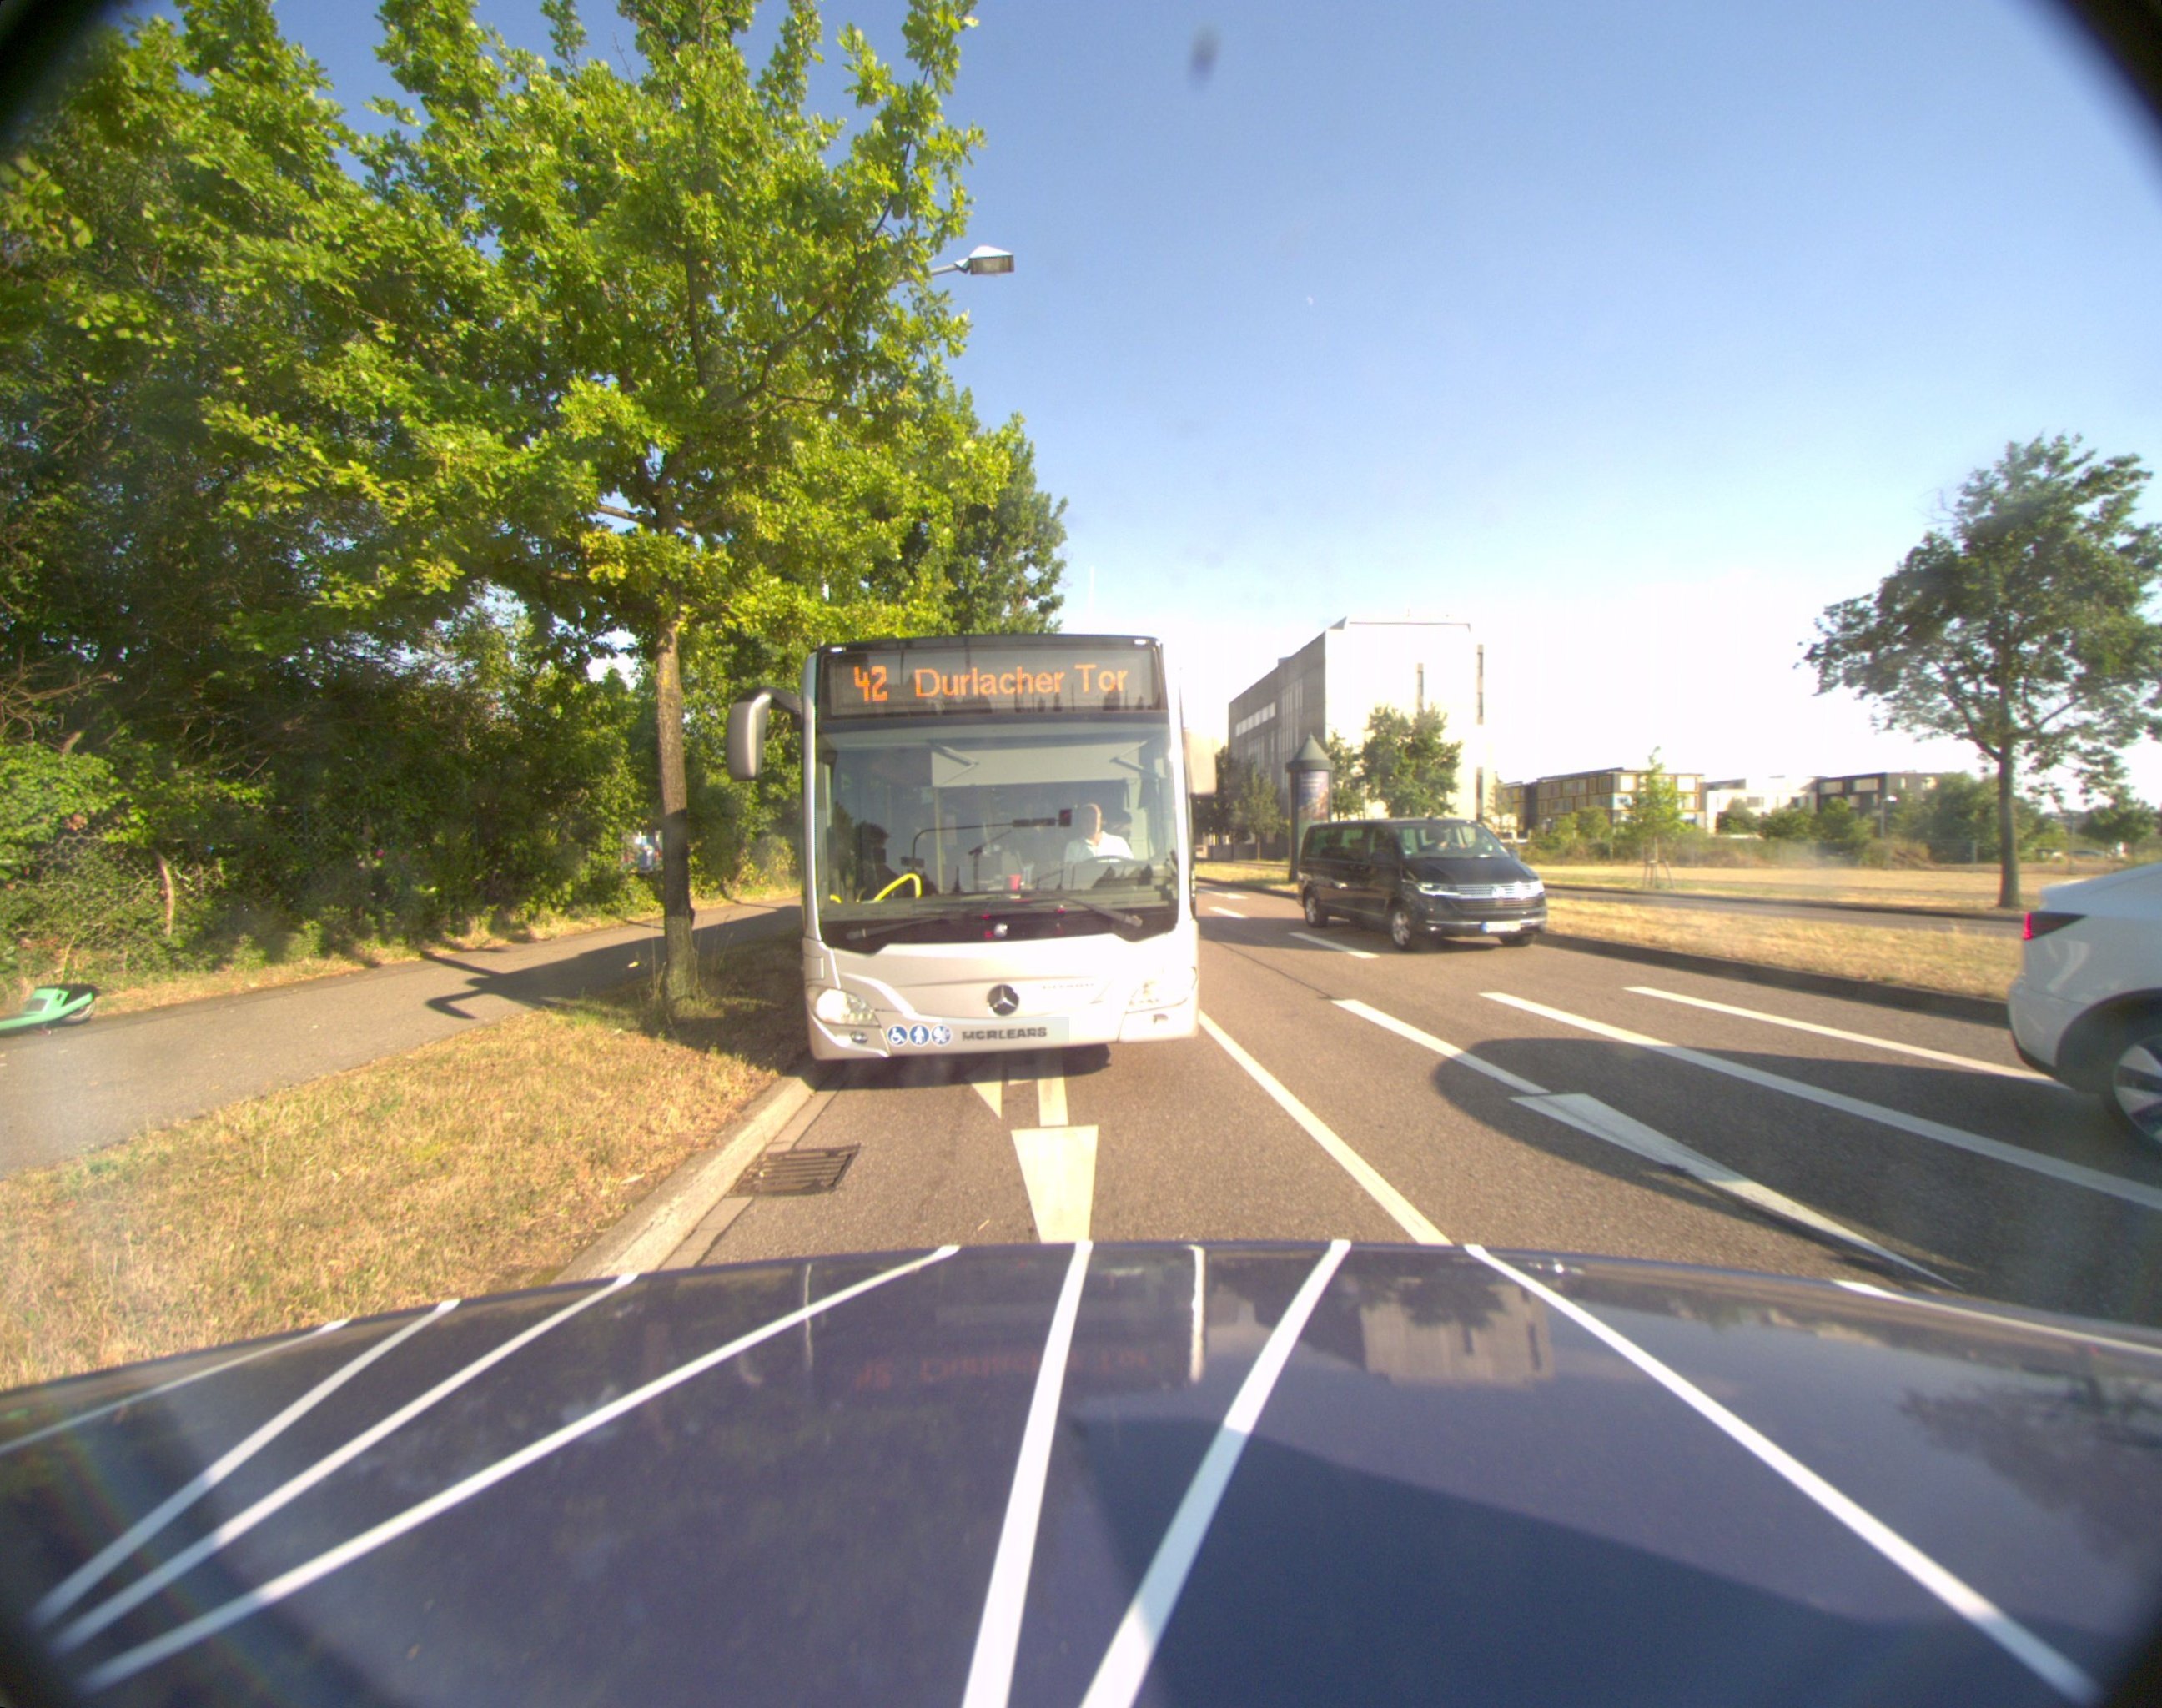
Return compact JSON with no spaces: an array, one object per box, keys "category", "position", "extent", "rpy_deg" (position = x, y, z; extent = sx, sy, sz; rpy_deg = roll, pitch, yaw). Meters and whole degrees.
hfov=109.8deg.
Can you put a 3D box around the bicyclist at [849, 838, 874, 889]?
[{"category":"bicyclist","position":[-8.050,0.341,27.903],"extent":[0.621,1.819,0.829],"rpy_deg":[5,1,-8]}]

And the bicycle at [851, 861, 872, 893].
[{"category":"bicycle","position":[-8.055,0.826,27.949],"extent":[0.416,1.151,1.890],"rpy_deg":[2,0,-8]}]

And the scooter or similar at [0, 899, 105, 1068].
[{"category":"scooter or similar","position":[-7.552,0.908,5.222],"extent":[0.249,1.120,1.095],"rpy_deg":[2,1,1]}]

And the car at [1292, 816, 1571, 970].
[{"category":"car","position":[5.208,0.467,12.244],"extent":[1.861,1.921,5.010],"rpy_deg":[-2,1,-4]}]

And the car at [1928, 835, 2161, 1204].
[{"category":"car","position":[5.662,0.713,1.884],"extent":[1.740,1.590,4.675],"rpy_deg":[-2,0,-4]}]

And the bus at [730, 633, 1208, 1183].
[{"category":"bus","position":[-0.835,0.265,10.128],"extent":[2.595,3.025,11.716],"rpy_deg":[-1,0,-2]}]
